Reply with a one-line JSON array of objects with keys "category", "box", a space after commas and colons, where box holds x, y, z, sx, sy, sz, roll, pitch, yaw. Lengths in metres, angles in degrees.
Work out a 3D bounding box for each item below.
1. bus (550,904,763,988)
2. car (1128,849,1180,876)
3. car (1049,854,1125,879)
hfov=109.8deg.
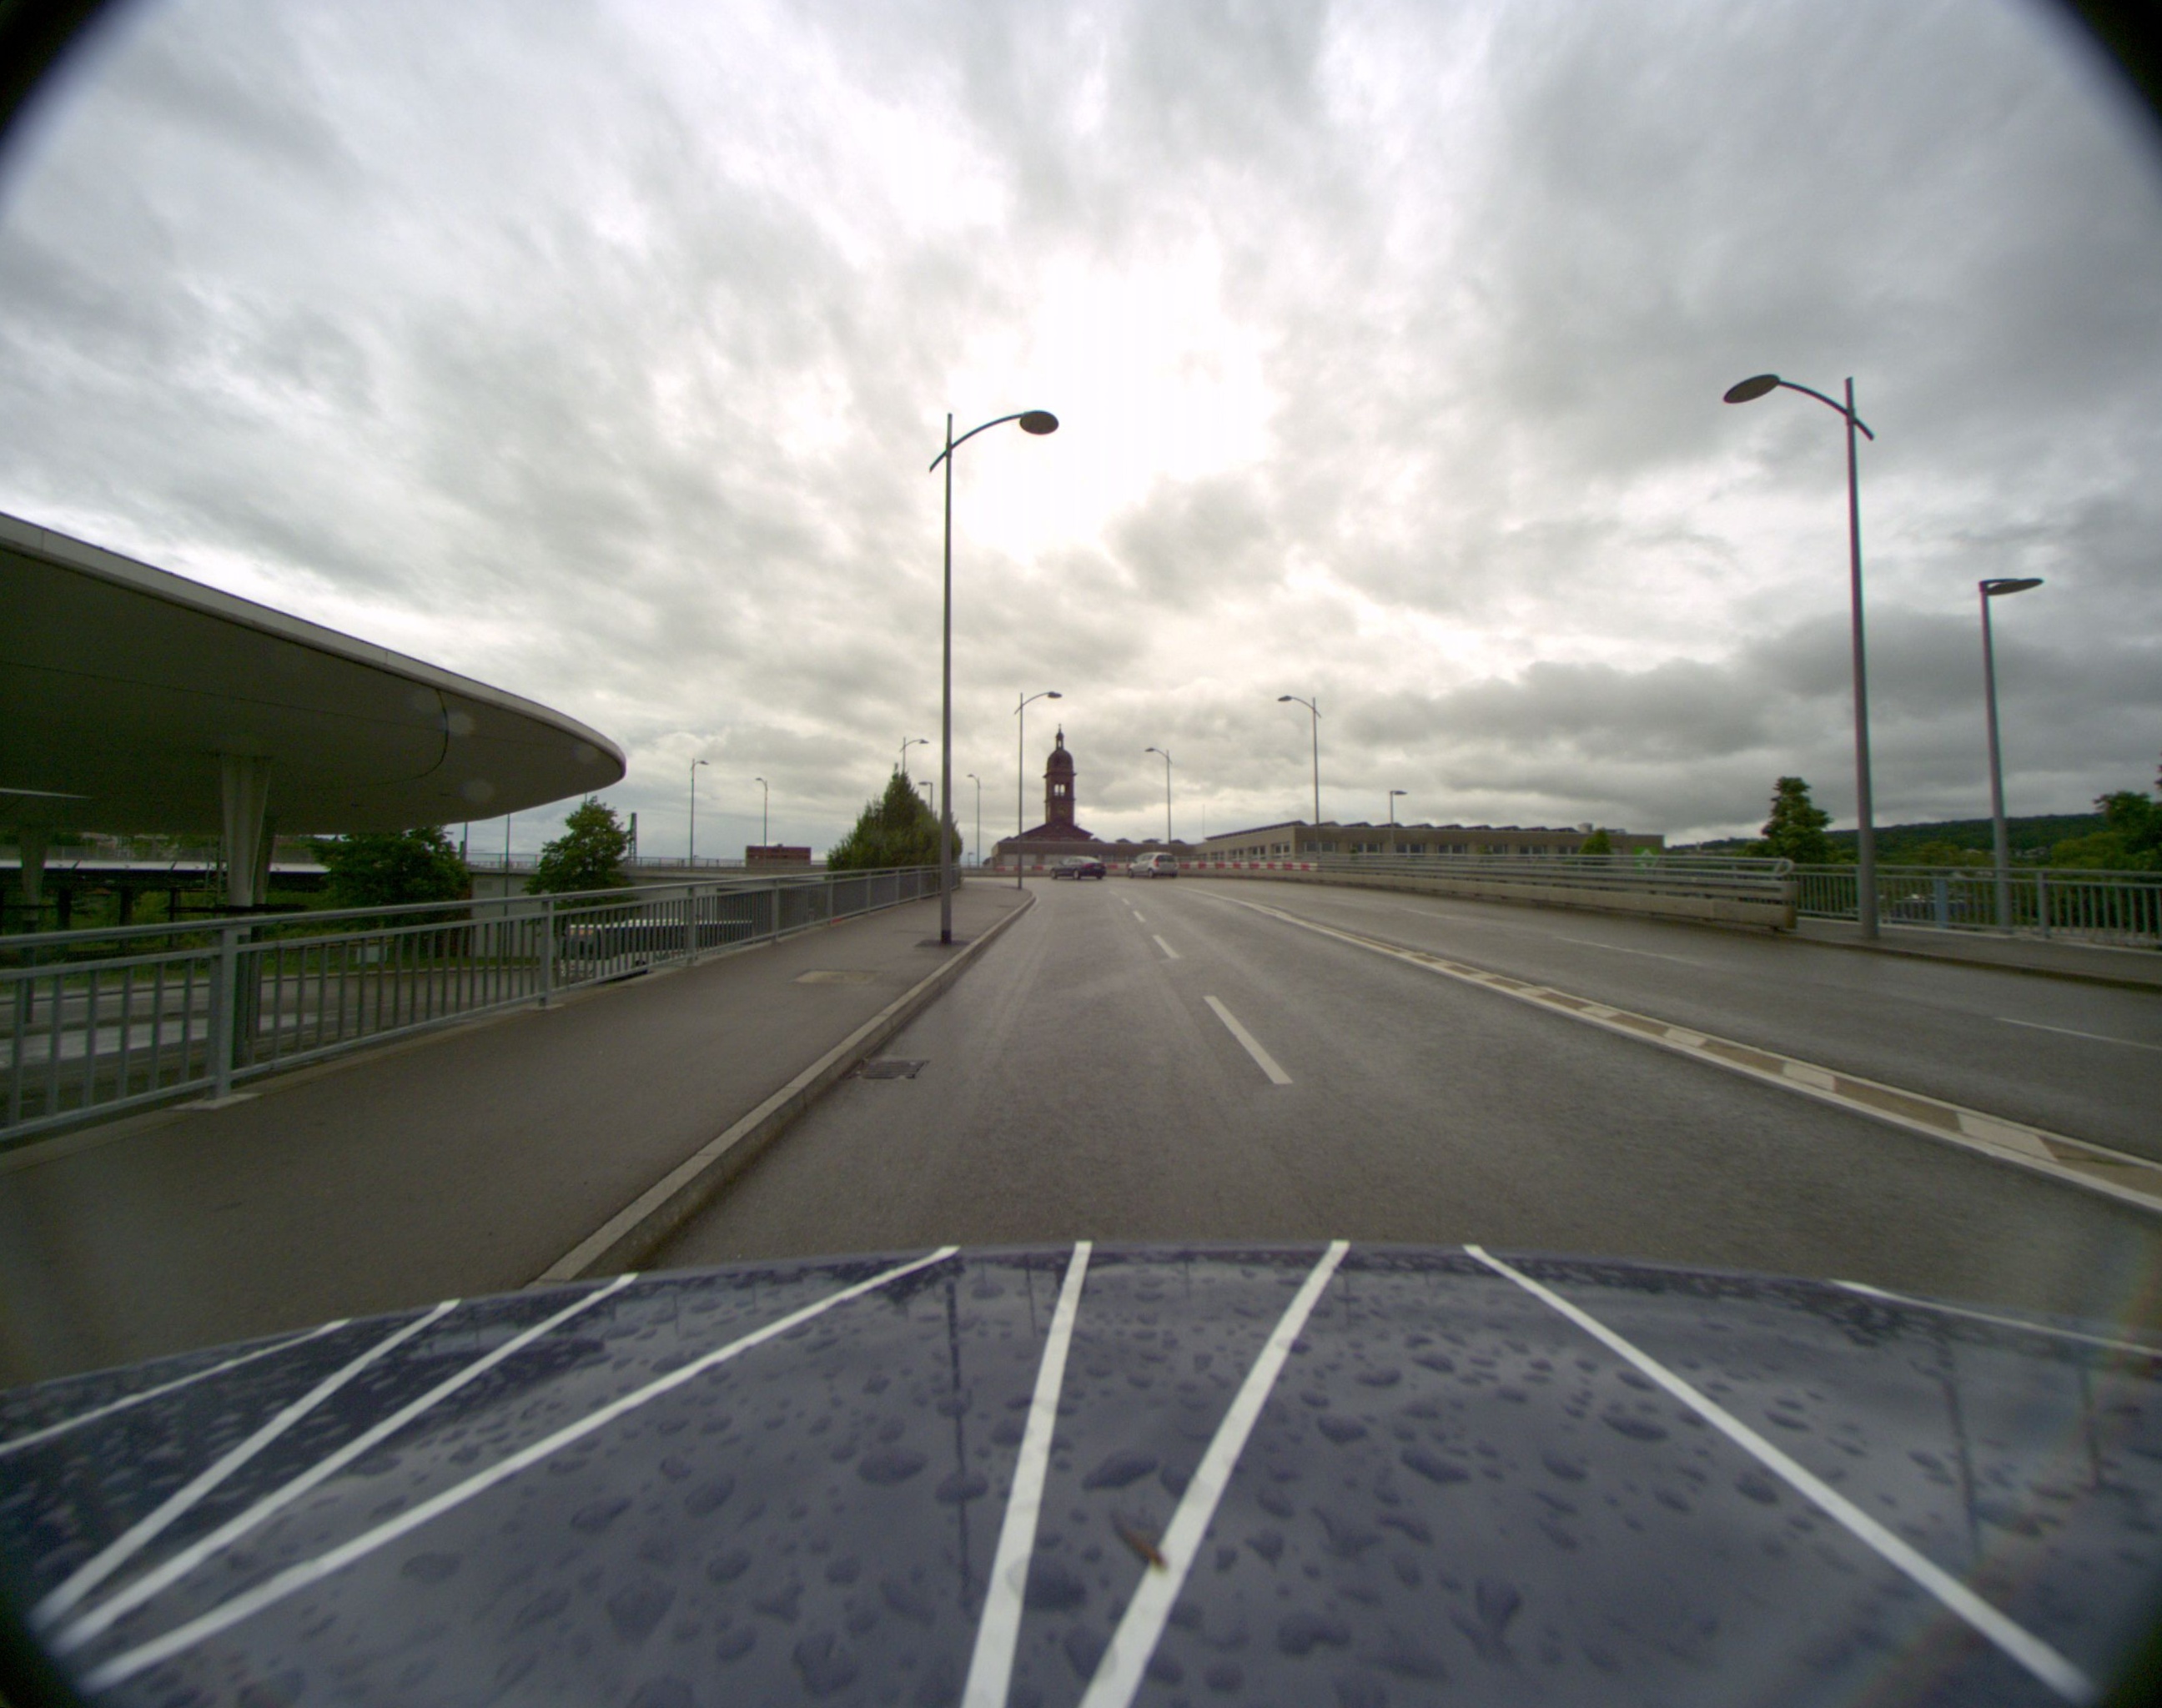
[{"category": "bus", "box": [-24.311, 5.113, 44.883, 2.792, 3.239, 12.154, -2, 1, 18]}, {"category": "car", "box": [4.545, 0.521, 47.971, 1.652, 1.599, 3.702, 0, 1, -24]}, {"category": "car", "box": [0.347, 0.741, 47.352, 4.445, 1.482, 1.676, 1, 1, 29]}]
